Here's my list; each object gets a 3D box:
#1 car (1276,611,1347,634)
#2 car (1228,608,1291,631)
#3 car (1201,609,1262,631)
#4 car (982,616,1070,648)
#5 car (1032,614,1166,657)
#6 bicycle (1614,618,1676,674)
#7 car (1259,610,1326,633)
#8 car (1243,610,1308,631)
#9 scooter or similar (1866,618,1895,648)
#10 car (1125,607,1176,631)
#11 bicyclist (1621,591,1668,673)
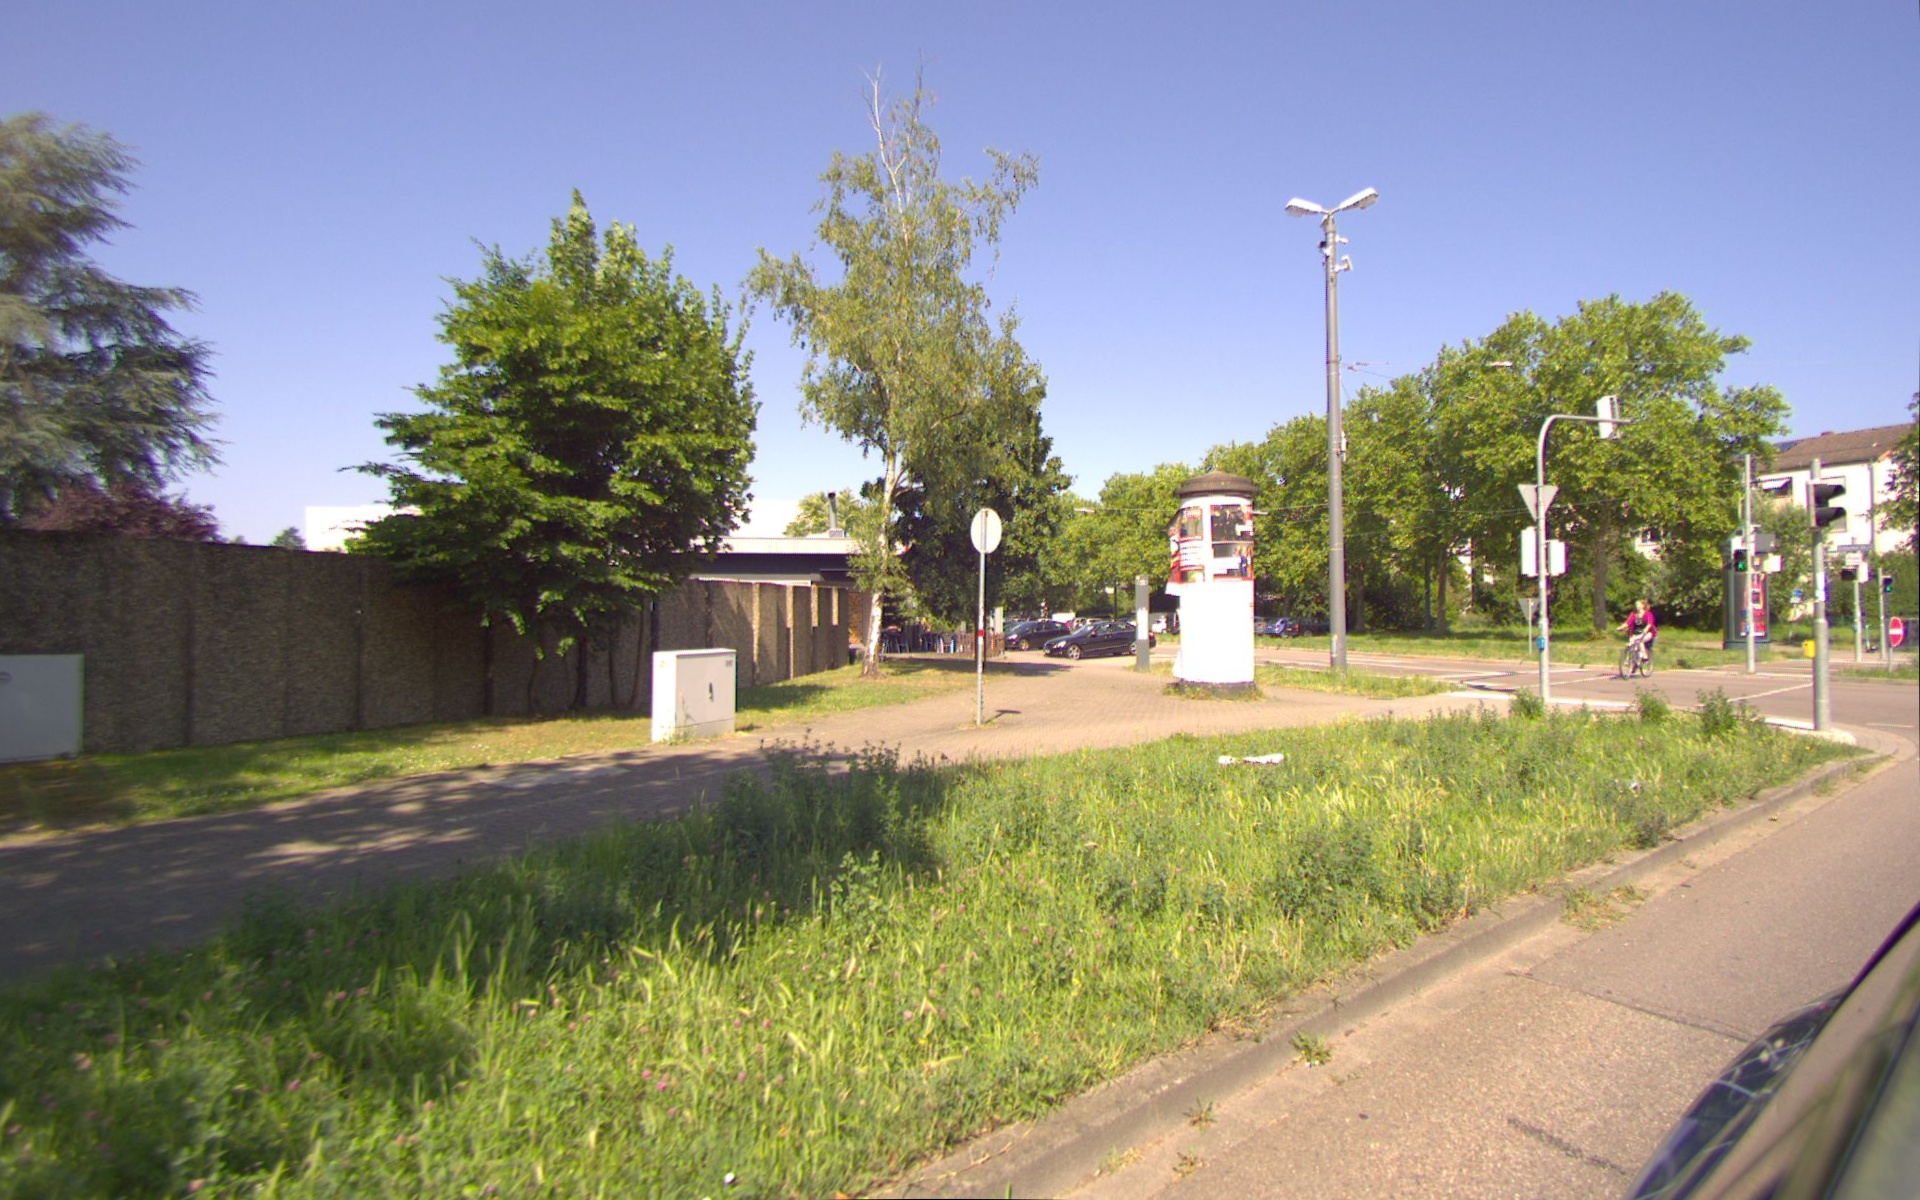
[{"bbox_3d":[24.114,1.517,69.458,4.264,1.510,2.003,-1,-1,-22],"label":"car"},{"bbox_3d":[22.850,1.514,77.226,4.263,1.654,2.003,0,-2,-22],"label":"car"},{"bbox_3d":[21.344,1.577,79.652,4.263,1.654,2.003,0,-1,-22],"label":"car"},{"bbox_3d":[3.401,1.619,51.813,4.131,1.518,2.139,0,-2,-40],"label":"car"},{"bbox_3d":[5.696,1.422,41.596,5.012,1.518,2.147,-2,0,-18],"label":"car"},{"bbox_3d":[15.673,1.032,23.126,2.089,1.201,0.692,0,-1,-43],"label":"bicycle"},{"bbox_3d":[23.683,1.522,72.091,4.263,1.510,2.003,0,-1,-22],"label":"car"},{"bbox_3d":[23.272,1.499,74.646,4.263,1.510,2.003,0,-1,-22],"label":"car"},{"bbox_3d":[38.075,1.356,41.866,0.512,1.156,1.431,-3,-1,29],"label":"scooter or similar"},{"bbox_3d":[18.283,1.769,97.173,4.493,2.237,2.003,0,-1,-22],"label":"car"},{"bbox_3d":[15.638,0.718,23.116,0.796,1.810,0.701,1,-2,-43],"label":"bicyclist"}]
